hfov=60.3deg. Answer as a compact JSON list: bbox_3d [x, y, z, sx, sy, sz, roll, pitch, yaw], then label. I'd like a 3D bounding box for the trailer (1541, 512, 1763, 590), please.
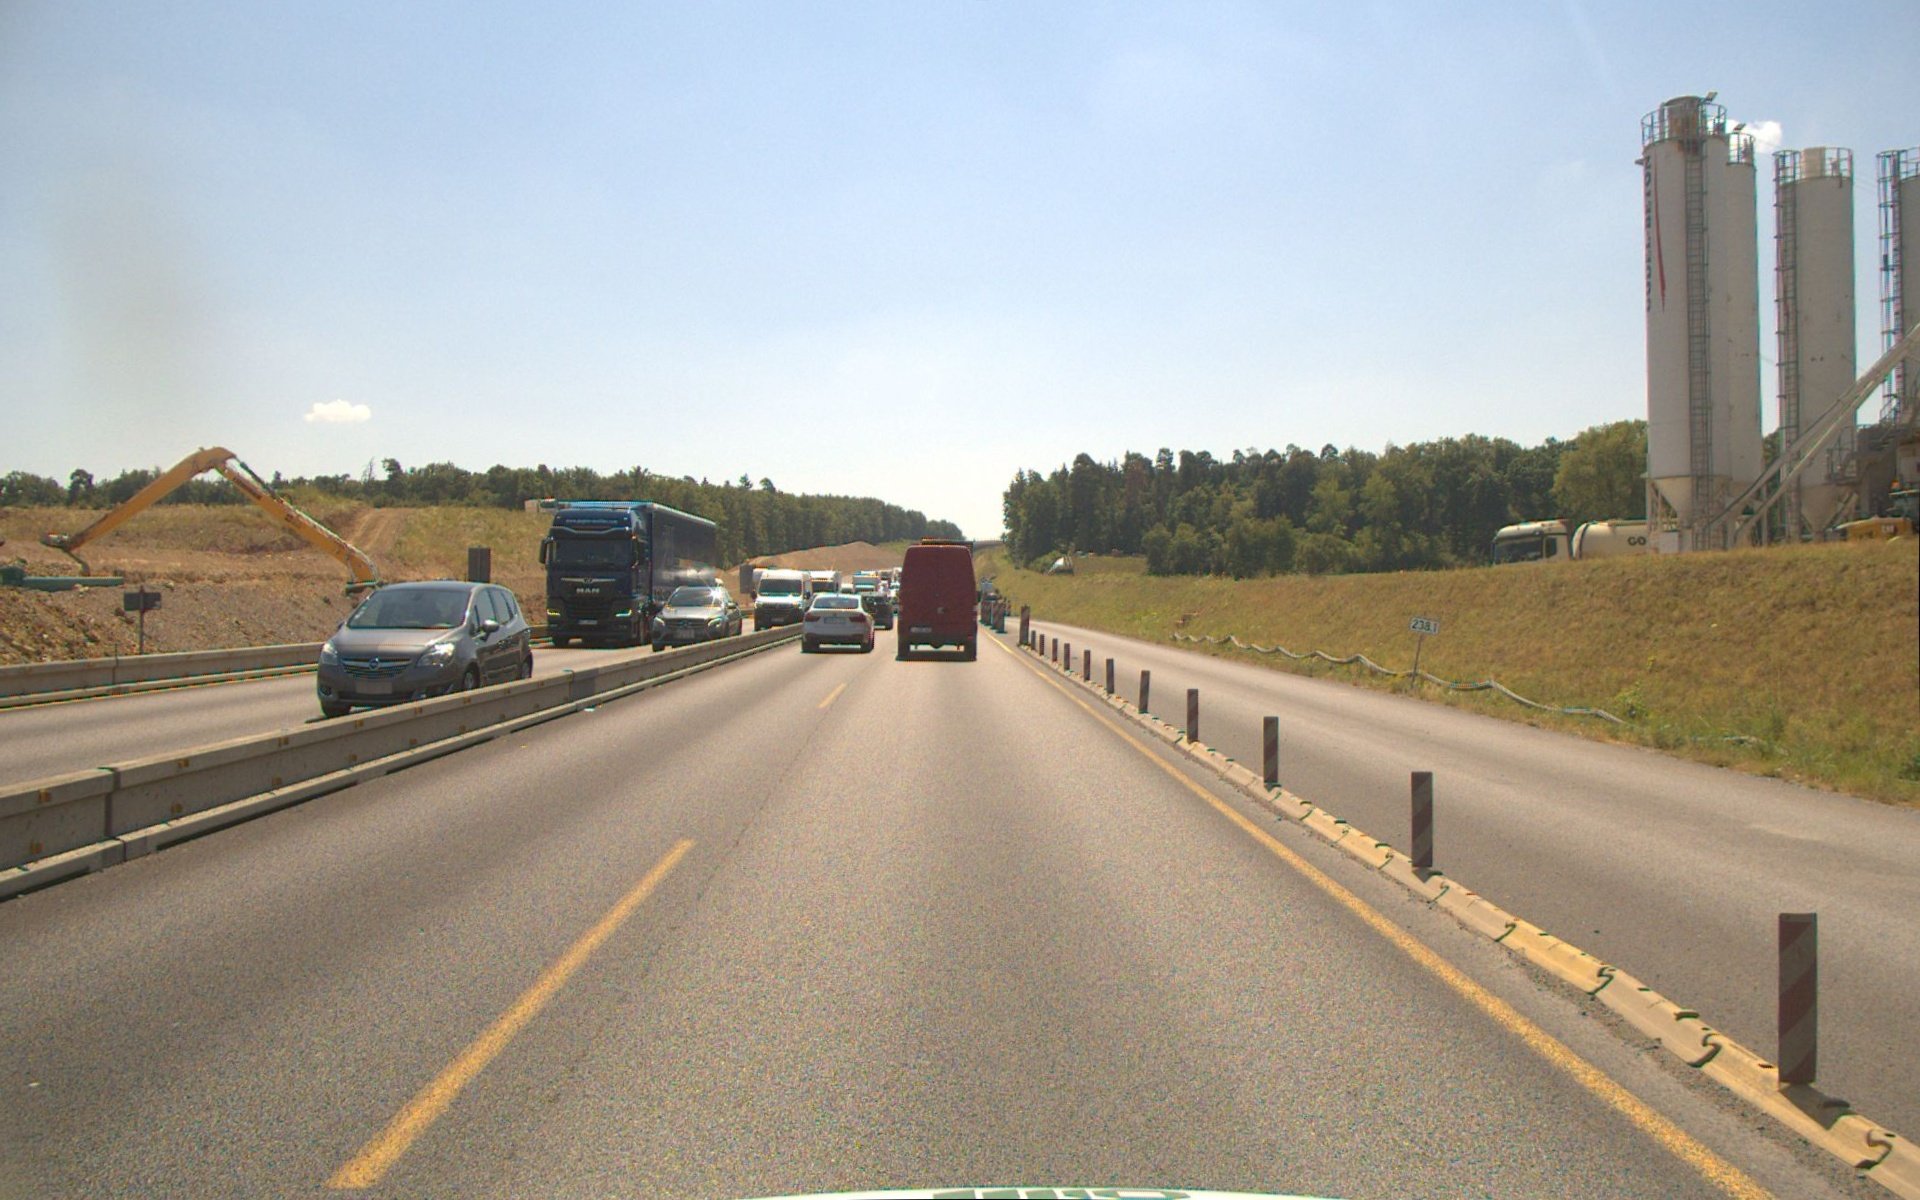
[{"bbox_3d":[30.207,-2.107,72.266,8.849,3.285,3.317,0,0,-16],"label":"trailer"}]

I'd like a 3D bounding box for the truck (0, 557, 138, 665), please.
[{"bbox_3d":[-24.718,0.253,43.339,2.268,2.663,8.409,0,0,-1],"label":"truck"}]

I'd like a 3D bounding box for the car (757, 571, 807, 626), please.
[{"bbox_3d":[-7.215,-0.076,67.328,1.821,2.192,3.623,0,0,-3],"label":"car"}]

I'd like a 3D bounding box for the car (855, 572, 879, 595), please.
[{"bbox_3d":[-8.095,-1.435,143.998,1.953,1.937,3.999,0,0,-1],"label":"car"}]

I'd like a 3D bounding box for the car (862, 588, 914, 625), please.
[{"bbox_3d":[-3.105,0.266,71.979,1.757,1.561,3.934,0,0,5],"label":"car"}]

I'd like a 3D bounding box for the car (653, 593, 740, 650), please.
[{"bbox_3d":[-6.709,0.521,42.395,1.687,1.369,3.625,0,0,-1],"label":"car"}]

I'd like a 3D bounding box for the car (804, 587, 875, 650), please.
[{"bbox_3d":[-3.197,0.461,44.686,1.759,1.561,5.070,1,0,-3],"label":"car"}]

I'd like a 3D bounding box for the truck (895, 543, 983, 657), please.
[{"bbox_3d":[-0.447,-0.022,42.077,2.068,2.679,6.485,0,0,1],"label":"truck"}]

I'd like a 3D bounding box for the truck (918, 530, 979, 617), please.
[{"bbox_3d":[-0.589,-1.320,84.985,2.954,4.225,8.272,0,0,0],"label":"truck"}]

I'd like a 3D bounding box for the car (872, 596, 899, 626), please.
[{"bbox_3d":[-5.208,0.778,115.777,1.727,2.049,3.826,0,0,-1],"label":"car"}]

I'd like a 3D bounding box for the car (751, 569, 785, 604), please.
[{"bbox_3d":[-11.641,-0.819,100.474,1.727,2.049,3.826,0,0,-1],"label":"car"}]

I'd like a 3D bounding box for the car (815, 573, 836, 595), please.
[{"bbox_3d":[-11.358,-1.346,140.059,1.689,1.861,3.556,0,0,-3],"label":"car"}]

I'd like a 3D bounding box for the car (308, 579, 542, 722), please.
[{"bbox_3d":[-6.498,0.551,20.554,1.618,1.585,4.095,0,0,-1],"label":"car"}]

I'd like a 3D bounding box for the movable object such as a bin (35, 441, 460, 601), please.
[{"bbox_3d":[-33.503,-3.693,78.453,18.337,7.357,3.614,0,0,-3],"label":"movable object such as a bin"}]

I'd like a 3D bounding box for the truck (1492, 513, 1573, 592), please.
[{"bbox_3d":[24.372,-1.954,70.266,2.837,3.167,6.010,0,0,23],"label":"truck"}]

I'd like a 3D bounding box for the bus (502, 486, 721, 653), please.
[{"bbox_3d":[-10.660,-0.886,53.258,3.863,4.492,17.195,0,0,-2],"label":"bus"}]
